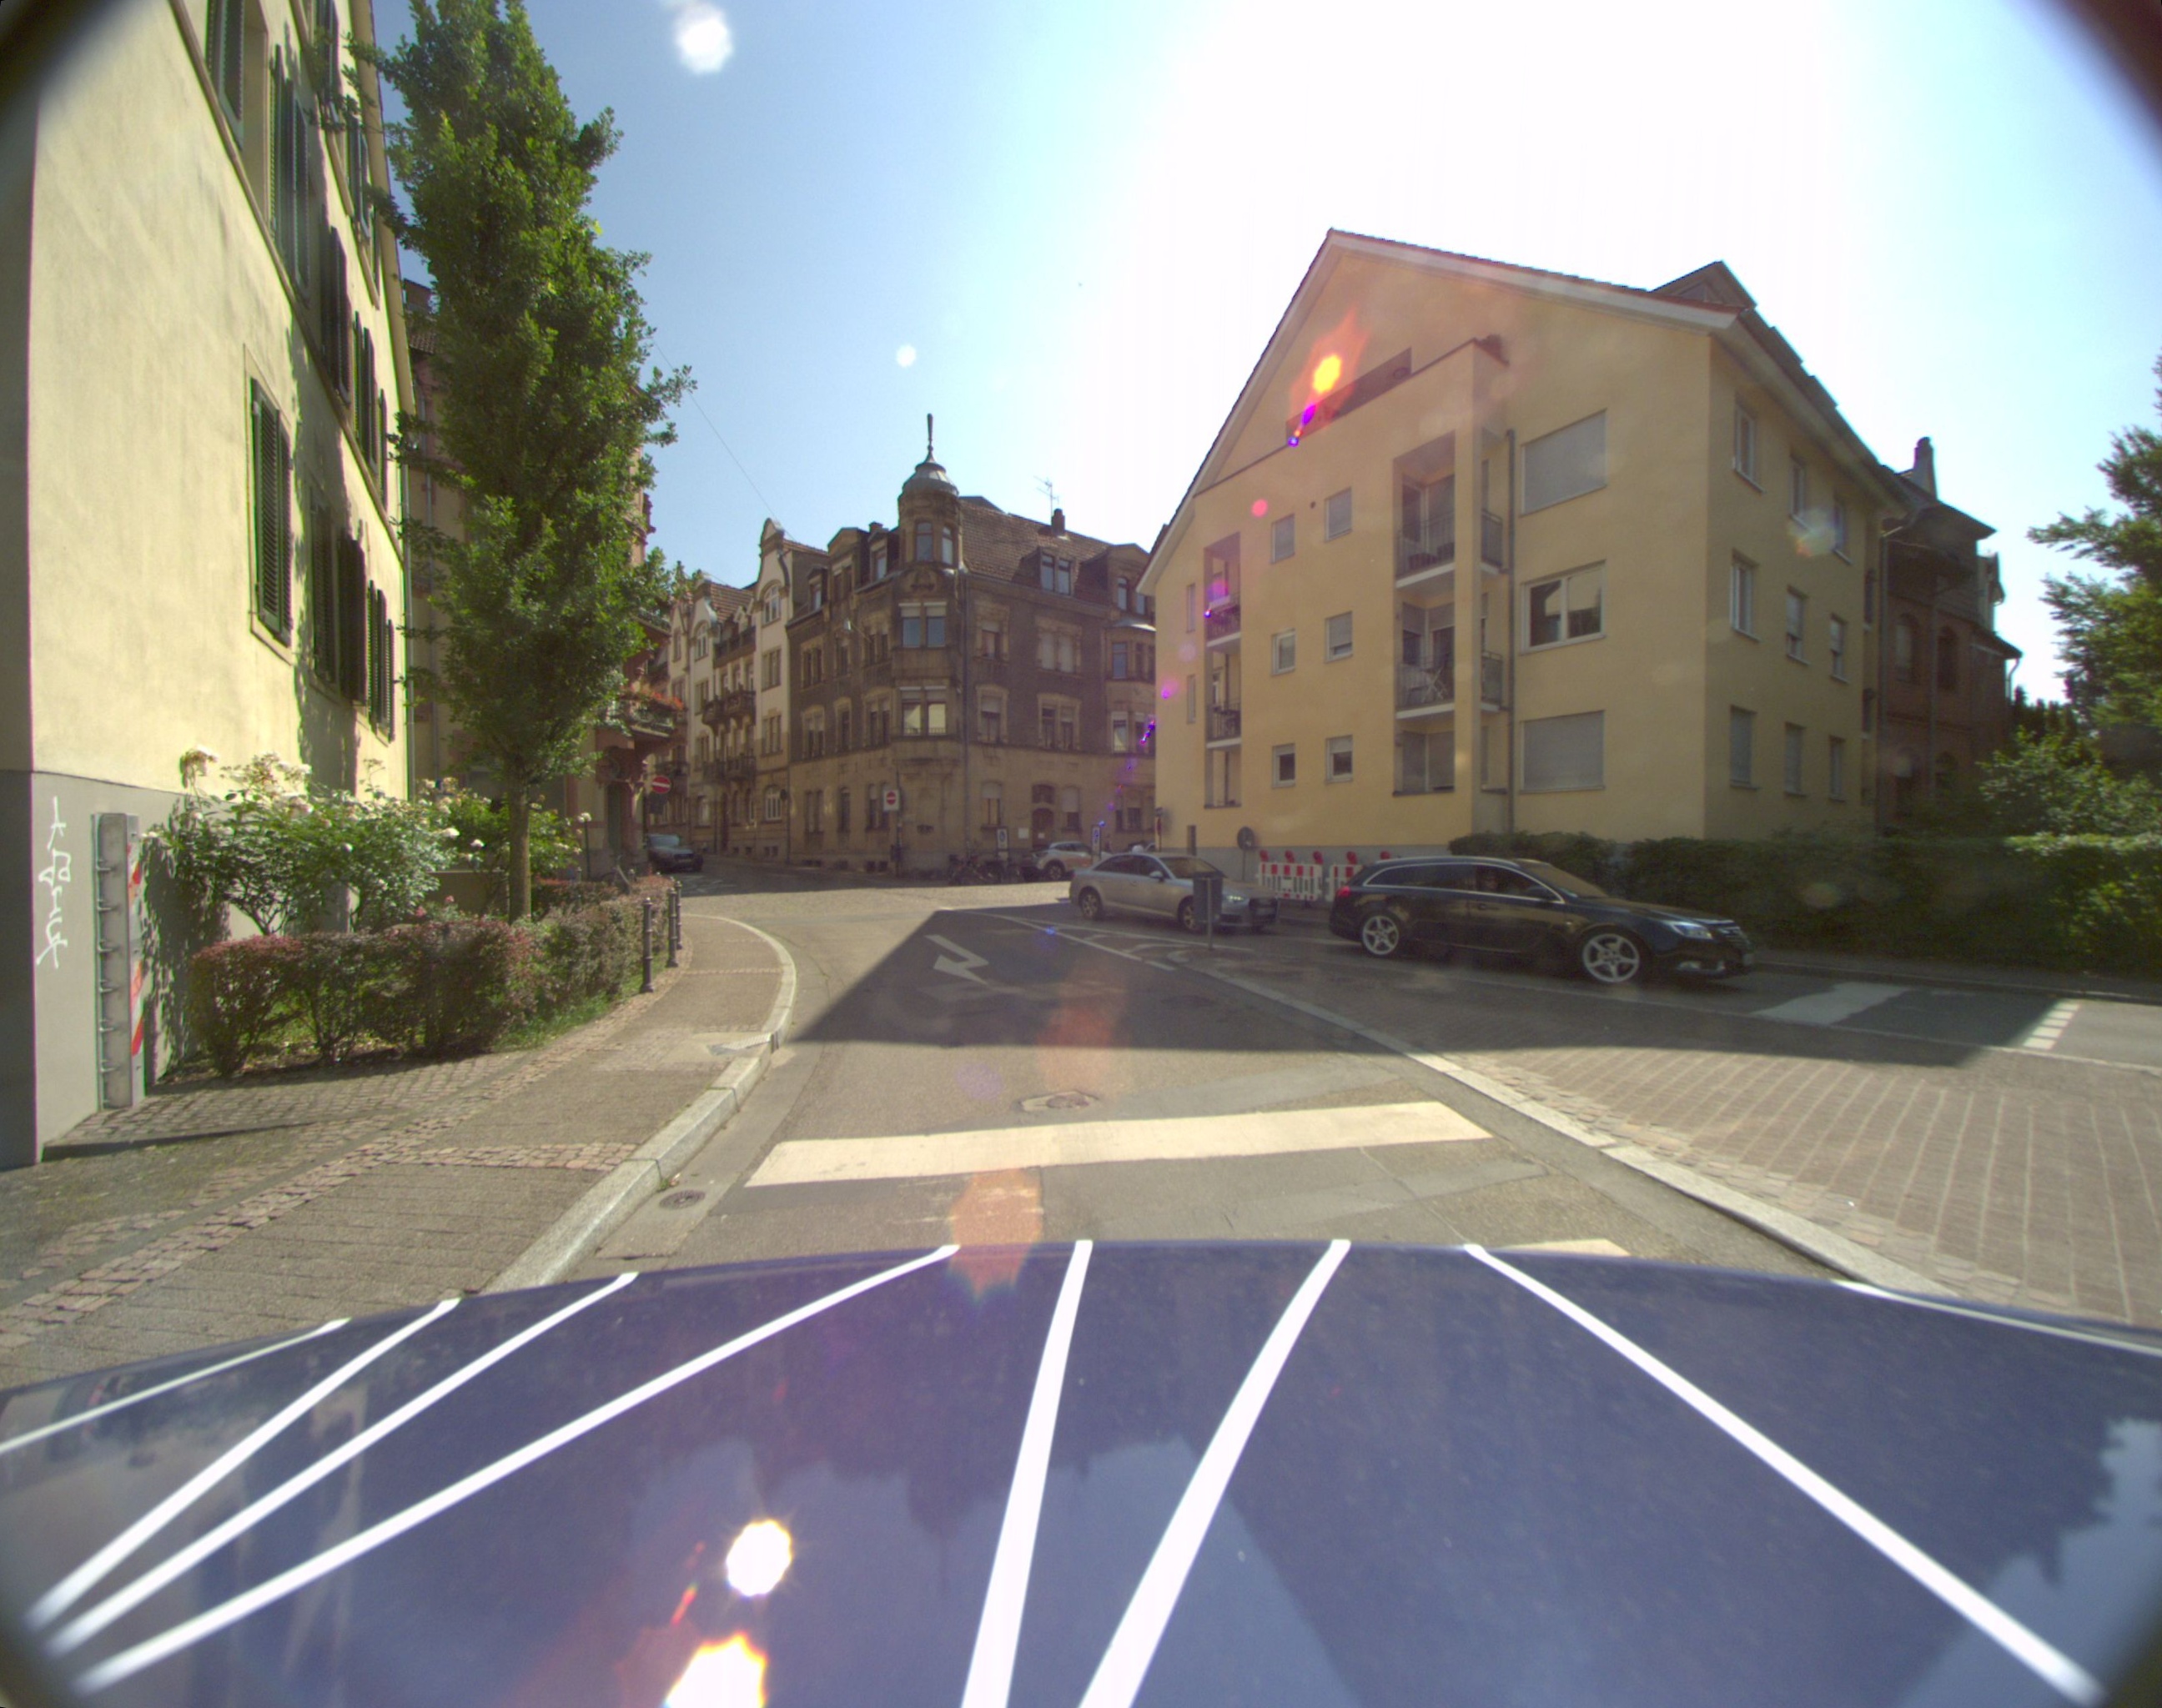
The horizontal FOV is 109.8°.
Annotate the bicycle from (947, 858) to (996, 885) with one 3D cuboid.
[{"bbox_3d":[-4.033,0.641,27.883,1.637,1.084,0.285,2,46,43],"label":"bicycle"}]

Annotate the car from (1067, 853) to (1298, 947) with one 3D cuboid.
[{"bbox_3d":[1.796,0.750,14.776,1.881,1.484,4.370,-1,1,-38],"label":"car"}]

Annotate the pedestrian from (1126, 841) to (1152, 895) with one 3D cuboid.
[{"bbox_3d":[1.793,0.423,23.481,0.658,1.609,0.492,-1,2,-24],"label":"pedestrian"}]

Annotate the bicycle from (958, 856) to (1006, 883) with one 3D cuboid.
[{"bbox_3d":[-3.682,0.566,28.234,1.637,1.084,0.285,2,46,43],"label":"bicycle"}]

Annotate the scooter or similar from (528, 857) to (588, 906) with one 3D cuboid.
[{"bbox_3d":[-13.545,0.694,19.707,0.441,1.228,1.193,1,2,40],"label":"scooter or similar"}]

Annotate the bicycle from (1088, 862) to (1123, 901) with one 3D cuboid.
[{"bbox_3d":[0.696,0.790,22.494,0.392,1.073,1.906,0,1,-19],"label":"bicycle"}]

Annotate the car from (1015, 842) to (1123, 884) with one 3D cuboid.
[{"bbox_3d":[-0.443,0.312,29.938,3.936,1.535,1.847,-1,1,-37],"label":"car"}]

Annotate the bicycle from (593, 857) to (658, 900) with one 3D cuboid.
[{"bbox_3d":[-12.752,0.682,21.260,1.789,1.140,0.506,1,1,18],"label":"bicycle"}]

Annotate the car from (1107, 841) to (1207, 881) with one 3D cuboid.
[{"bbox_3d":[3.295,0.264,32.527,4.007,1.535,1.848,-2,1,-35],"label":"car"}]

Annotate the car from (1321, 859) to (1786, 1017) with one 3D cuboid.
[{"bbox_3d":[5.632,0.838,9.705,1.723,1.453,4.711,2,0,-38],"label":"car"}]

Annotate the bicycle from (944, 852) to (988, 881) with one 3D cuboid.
[{"bbox_3d":[-4.517,0.478,29.901,1.645,1.080,0.494,0,5,-36],"label":"bicycle"}]

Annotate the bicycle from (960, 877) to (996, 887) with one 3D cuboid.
[{"bbox_3d":[-3.750,1.012,27.613,1.080,0.286,1.121,0,1,-22],"label":"bicycle"}]

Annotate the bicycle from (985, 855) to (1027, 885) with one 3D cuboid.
[{"bbox_3d":[-2.773,0.602,28.041,1.638,1.079,0.286,-2,-2,26],"label":"bicycle"}]

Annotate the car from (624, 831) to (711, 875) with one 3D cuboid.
[{"bbox_3d":[-17.164,-0.099,31.453,4.246,1.574,1.866,3,5,43],"label":"car"}]

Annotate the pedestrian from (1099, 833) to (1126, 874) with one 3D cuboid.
[{"bbox_3d":[1.383,-0.027,33.394,0.982,1.749,0.621,-2,6,-37],"label":"pedestrian"}]

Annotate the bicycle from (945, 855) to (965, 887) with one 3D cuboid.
[{"bbox_3d":[-4.564,0.595,27.512,0.286,1.080,1.639,-4,3,-22],"label":"bicycle"}]
